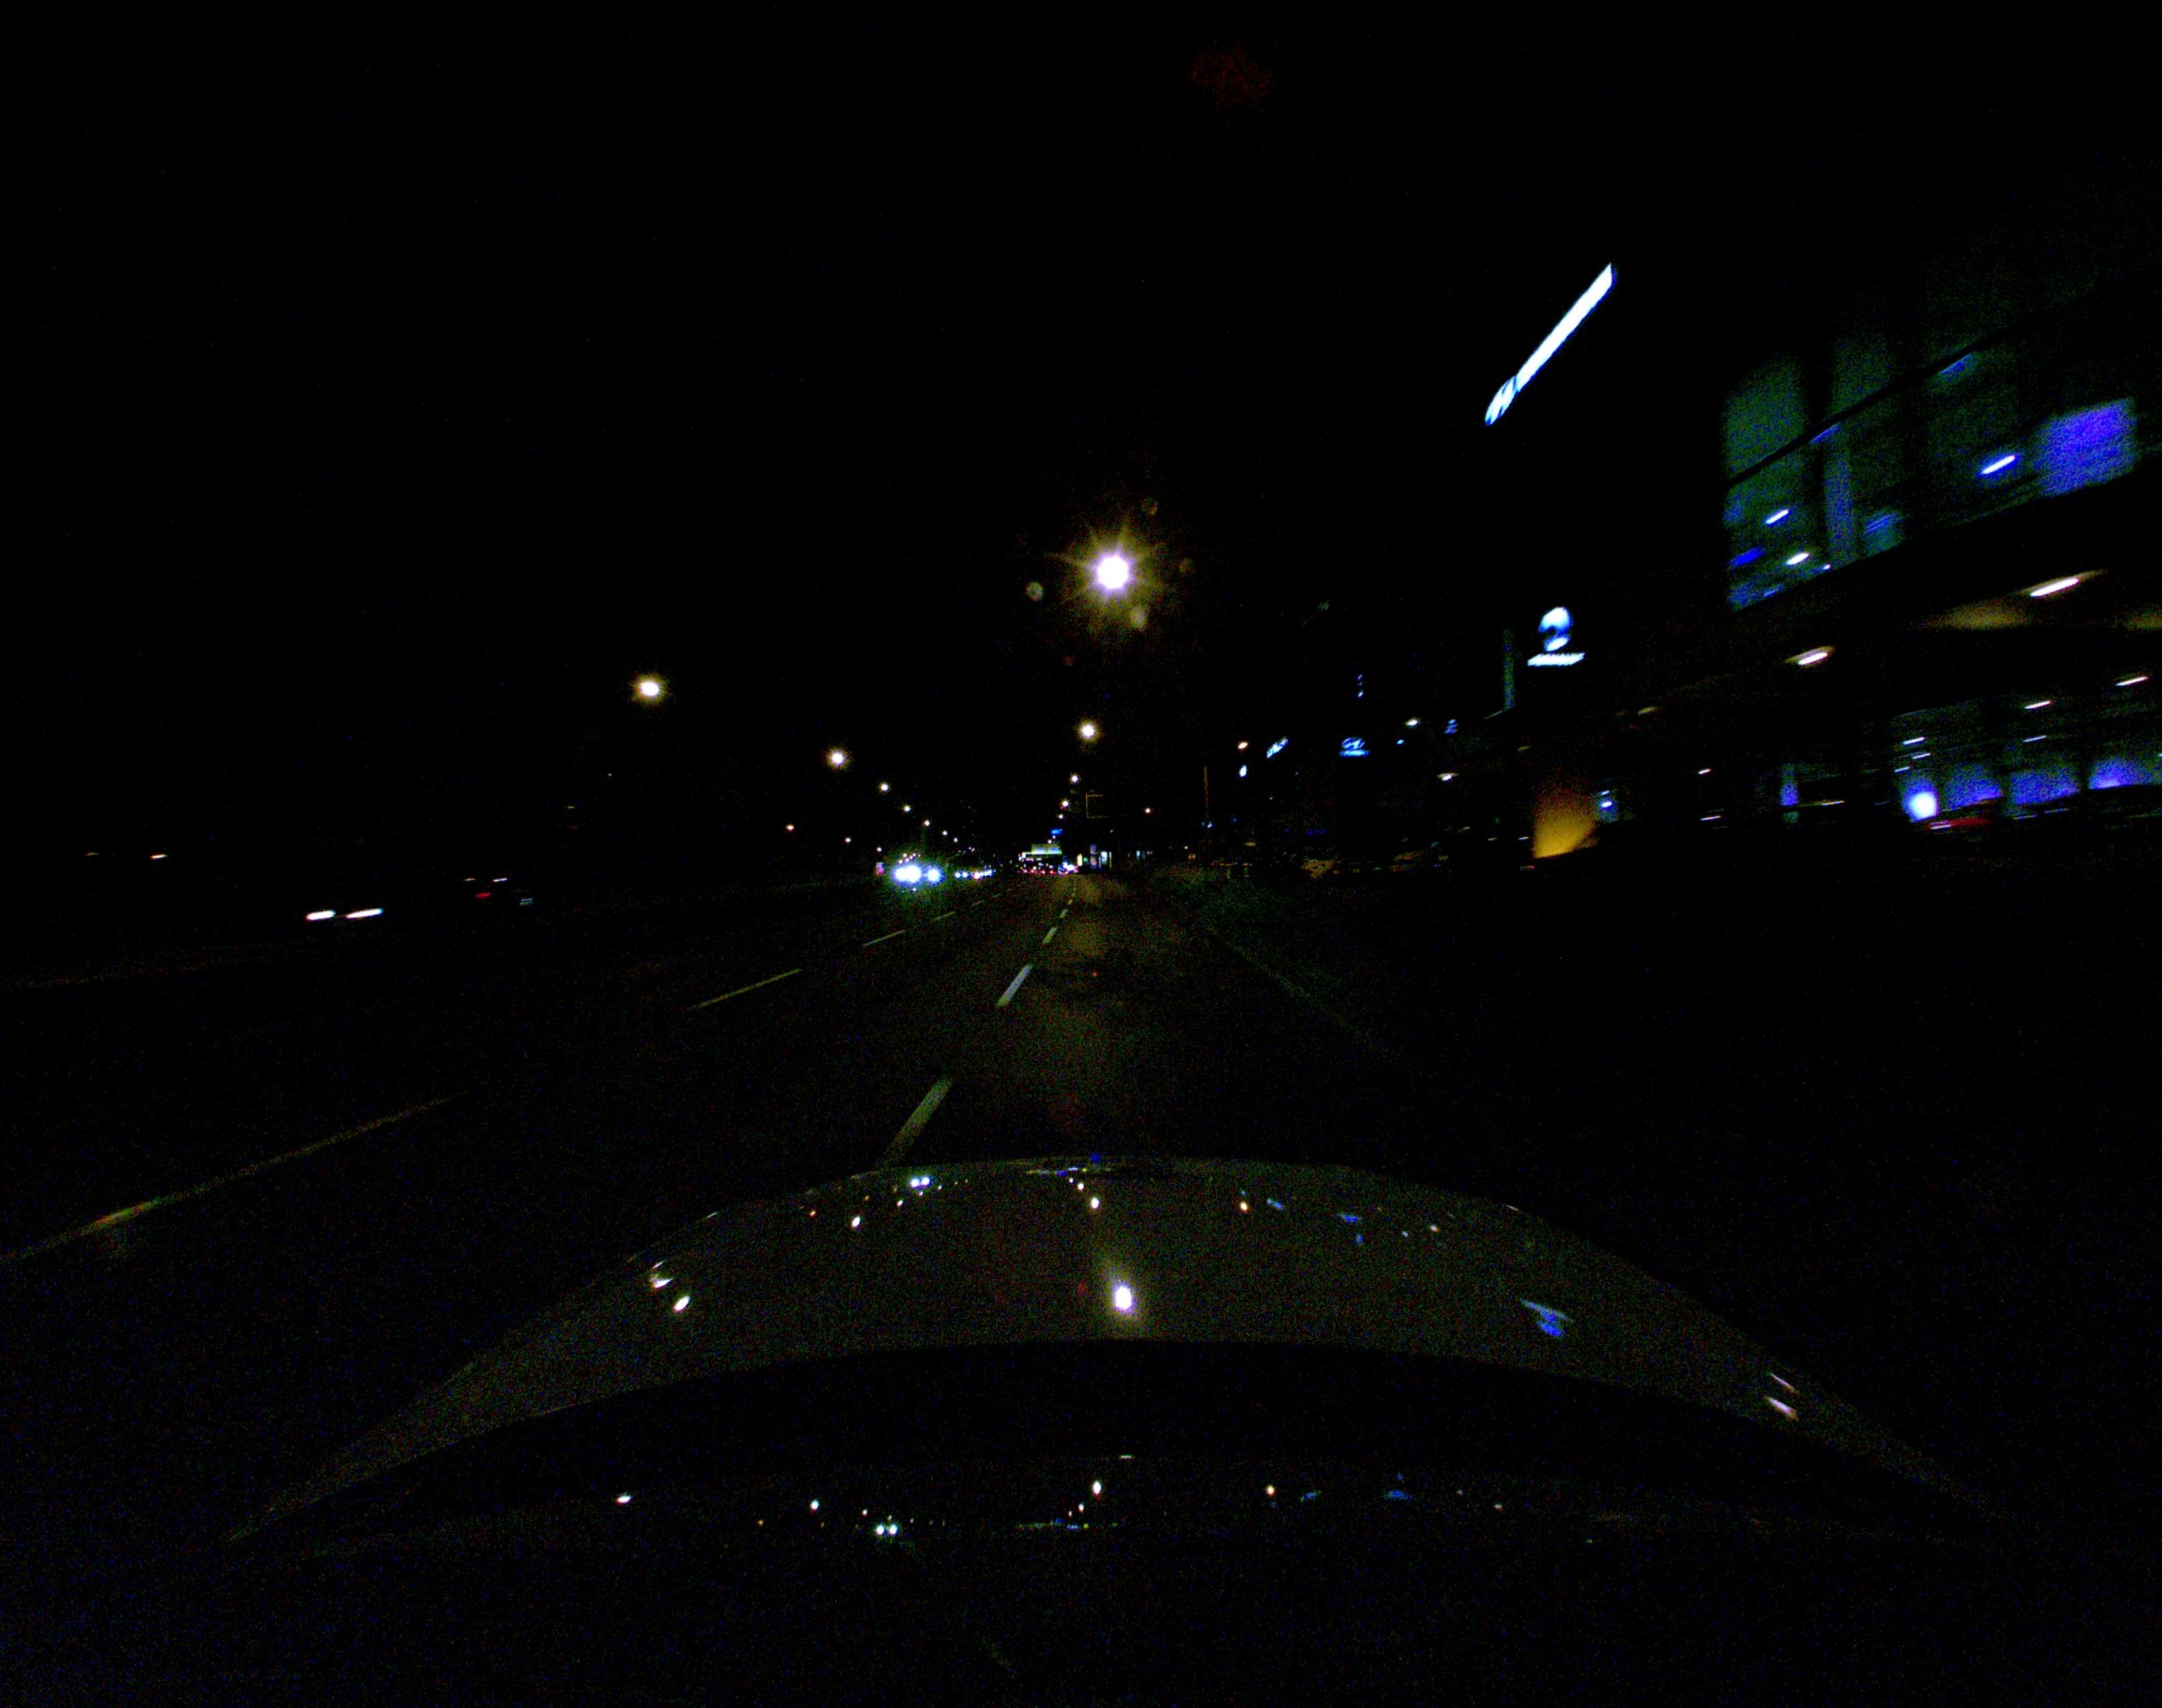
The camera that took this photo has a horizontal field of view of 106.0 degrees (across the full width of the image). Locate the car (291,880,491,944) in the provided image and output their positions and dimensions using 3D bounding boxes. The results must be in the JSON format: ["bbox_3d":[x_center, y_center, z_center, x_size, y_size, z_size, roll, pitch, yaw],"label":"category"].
[{"bbox_3d":[-18.234,1.464,21.825,1.779,1.497,4.173,-1,-2,0],"label":"car"}]

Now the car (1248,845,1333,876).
[{"bbox_3d":[11.199,0.346,43.681,3.988,1.381,1.802,-4,0,-11],"label":"car"}]

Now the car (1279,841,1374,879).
[{"bbox_3d":[11.375,0.283,37.798,3.772,1.378,1.709,-6,0,-13],"label":"car"}]

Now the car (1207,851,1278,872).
[{"bbox_3d":[11.271,0.506,56.876,4.651,1.264,1.931,-1,0,-25],"label":"car"}]

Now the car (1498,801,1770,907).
[{"bbox_3d":[10.761,-0.007,15.978,4.204,1.663,1.954,-4,0,-11],"label":"car"}]

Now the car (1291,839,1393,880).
[{"bbox_3d":[11.273,0.236,35.290,3.807,1.453,1.709,-4,0,-14],"label":"car"}]

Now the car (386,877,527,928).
[{"bbox_3d":[-20.979,1.579,27.572,1.654,1.517,3.912,-1,-1,2],"label":"car"}]

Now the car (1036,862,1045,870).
[{"bbox_3d":[-9.829,2.858,197.196,1.881,1.860,3.999,-1,-1,0],"label":"car"}]

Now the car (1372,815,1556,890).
[{"bbox_3d":[11.132,-0.055,23.816,4.462,1.687,1.993,-6,0,-11],"label":"car"}]

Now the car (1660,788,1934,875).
[{"bbox_3d":[16.242,-0.457,18.689,1.729,1.510,4.393,-4,-2,-39],"label":"car"}]

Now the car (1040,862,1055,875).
[{"bbox_3d":[-5.908,2.529,143.650,2.348,2.129,4.825,-1,-1,0],"label":"car"}]

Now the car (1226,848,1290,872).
[{"bbox_3d":[11.185,0.372,51.485,3.617,1.433,1.667,-1,-1,-24],"label":"car"}]

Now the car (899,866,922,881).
[{"bbox_3d":[-20.411,2.335,97.612,1.773,1.713,4.226,-1,-1,0],"label":"car"}]

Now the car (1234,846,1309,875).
[{"bbox_3d":[11.412,0.362,48.805,4.000,1.470,1.821,-3,0,-20],"label":"car"}]

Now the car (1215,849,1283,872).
[{"bbox_3d":[11.182,0.433,54.156,3.997,1.424,1.898,-1,0,-18],"label":"car"}]

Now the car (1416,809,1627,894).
[{"bbox_3d":[11.297,-0.067,21.012,4.462,1.810,1.993,-4,0,-11],"label":"car"}]

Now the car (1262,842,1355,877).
[{"bbox_3d":[11.269,0.267,40.400,4.032,1.373,1.816,-5,0,-16],"label":"car"}]

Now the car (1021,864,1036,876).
[{"bbox_3d":[-9.399,2.886,146.324,2.255,2.014,4.825,-1,-1,0],"label":"car"}]

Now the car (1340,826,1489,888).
[{"bbox_3d":[10.828,0.081,26.572,4.082,1.568,1.848,-6,0,-11],"label":"car"}]

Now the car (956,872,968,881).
[{"bbox_3d":[-23.507,4.440,160.891,1.990,1.594,3.993,-3,0,-5],"label":"car"}]

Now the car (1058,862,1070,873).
[{"bbox_3d":[-3.479,2.789,165.586,2.419,2.113,4.825,-1,-1,0],"label":"car"}]

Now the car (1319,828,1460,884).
[{"bbox_3d":[11.335,0.095,30.033,4.461,1.547,1.764,-6,-1,-10],"label":"car"}]

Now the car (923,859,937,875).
[{"bbox_3d":[-28.035,2.476,150.950,2.147,2.671,6.932,-4,-1,-12],"label":"car"}]

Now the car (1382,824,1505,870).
[{"bbox_3d":[16.368,-0.262,36.999,1.843,1.918,4.774,0,-1,-36],"label":"car"}]

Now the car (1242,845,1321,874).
[{"bbox_3d":[11.323,0.292,46.058,4.004,1.391,1.813,-3,1,-22],"label":"car"}]
